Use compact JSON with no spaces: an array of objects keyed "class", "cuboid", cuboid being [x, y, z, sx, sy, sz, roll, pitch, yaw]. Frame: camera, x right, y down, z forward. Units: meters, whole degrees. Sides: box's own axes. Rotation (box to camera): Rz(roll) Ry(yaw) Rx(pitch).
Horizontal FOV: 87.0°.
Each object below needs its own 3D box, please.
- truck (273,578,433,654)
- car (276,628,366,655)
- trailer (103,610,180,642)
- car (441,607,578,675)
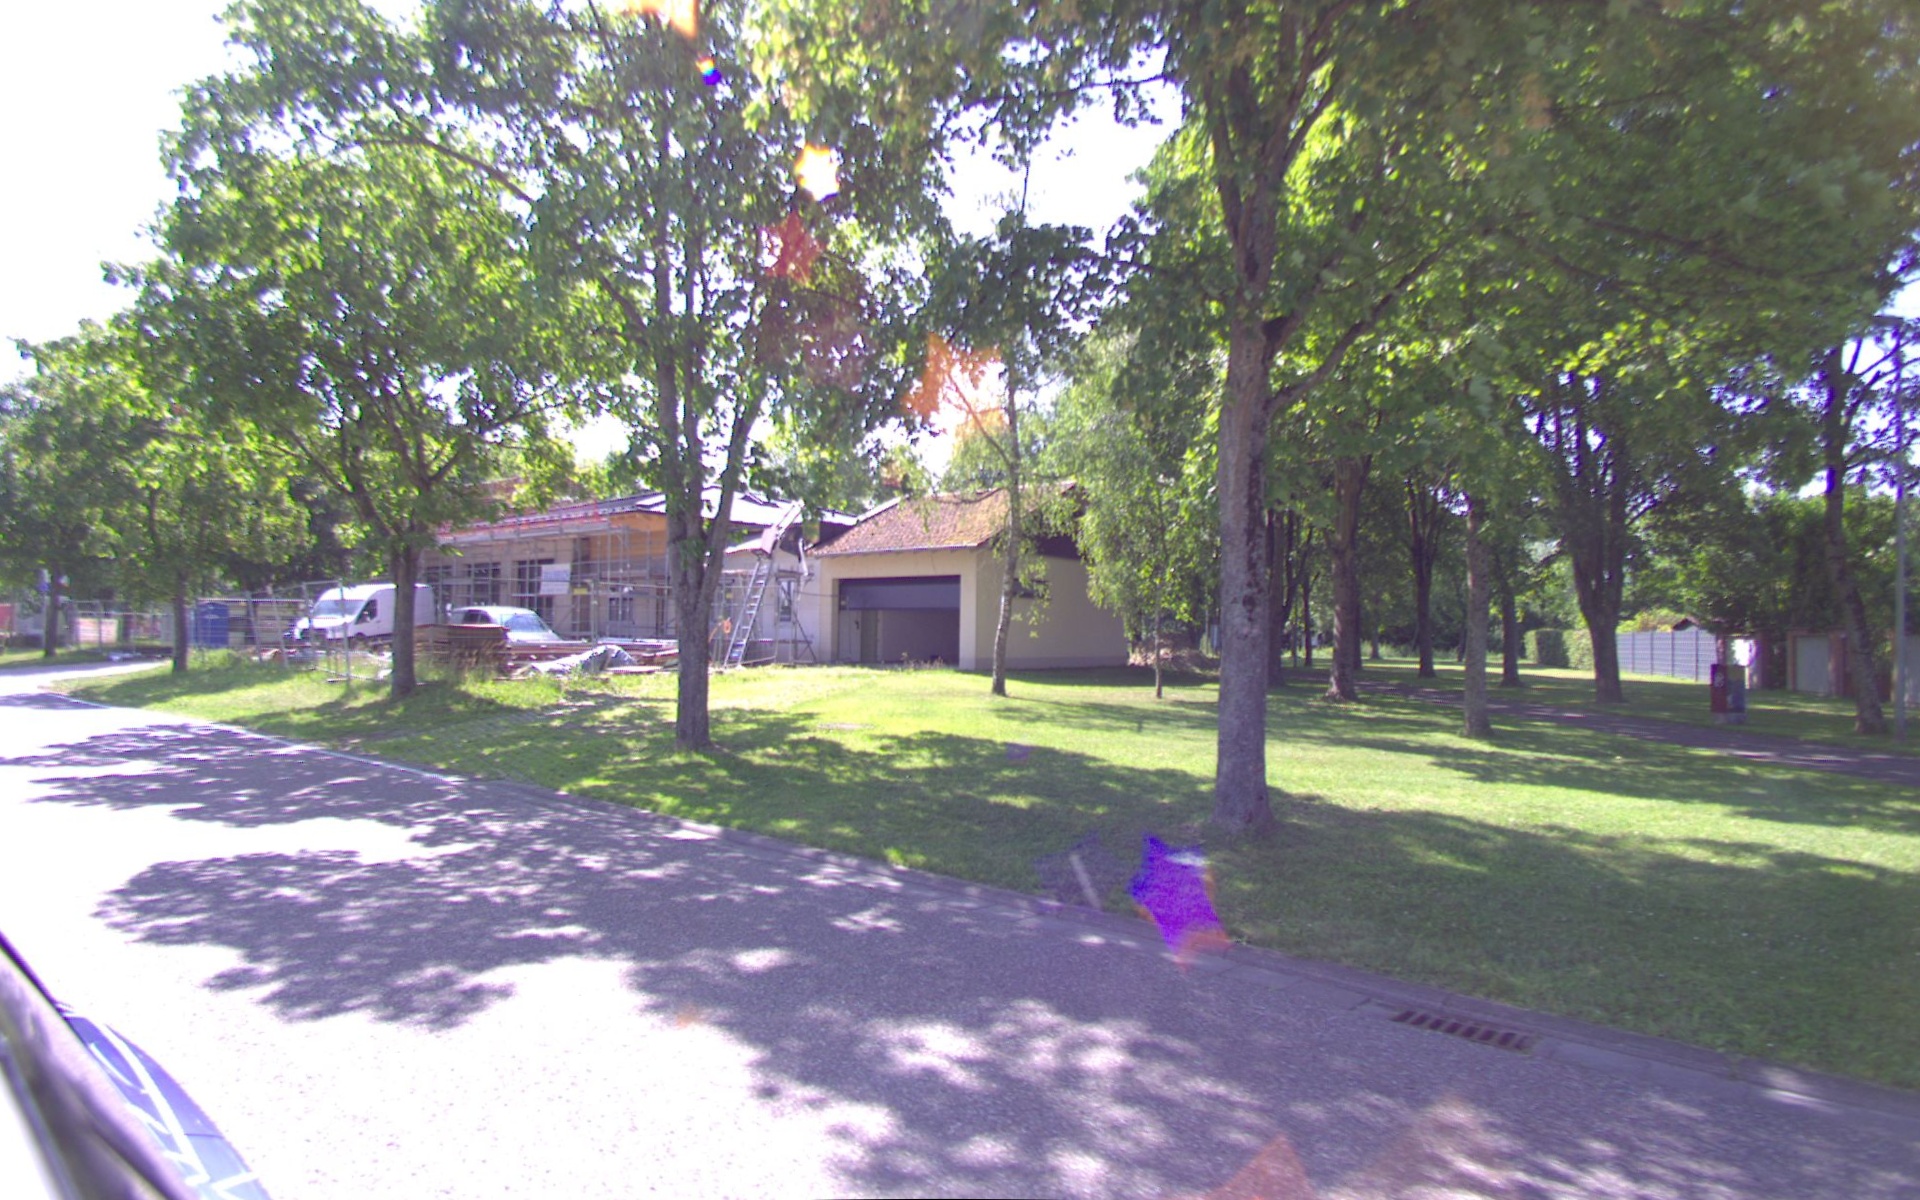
[{"class":"truck","cuboid":[-21.810,0.613,36.722,1.974,2.502,5.926,1,-2,3]},{"class":"car","cuboid":[-34.954,2.273,55.410,1.753,1.410,3.770,-1,-3,32]},{"class":"trailer","cuboid":[-62.648,2.017,77.532,1.819,2.295,4.199,0,-3,26]},{"class":"car","cuboid":[-13.230,1.161,29.614,4.324,1.852,1.951,-1,-2,40]}]
